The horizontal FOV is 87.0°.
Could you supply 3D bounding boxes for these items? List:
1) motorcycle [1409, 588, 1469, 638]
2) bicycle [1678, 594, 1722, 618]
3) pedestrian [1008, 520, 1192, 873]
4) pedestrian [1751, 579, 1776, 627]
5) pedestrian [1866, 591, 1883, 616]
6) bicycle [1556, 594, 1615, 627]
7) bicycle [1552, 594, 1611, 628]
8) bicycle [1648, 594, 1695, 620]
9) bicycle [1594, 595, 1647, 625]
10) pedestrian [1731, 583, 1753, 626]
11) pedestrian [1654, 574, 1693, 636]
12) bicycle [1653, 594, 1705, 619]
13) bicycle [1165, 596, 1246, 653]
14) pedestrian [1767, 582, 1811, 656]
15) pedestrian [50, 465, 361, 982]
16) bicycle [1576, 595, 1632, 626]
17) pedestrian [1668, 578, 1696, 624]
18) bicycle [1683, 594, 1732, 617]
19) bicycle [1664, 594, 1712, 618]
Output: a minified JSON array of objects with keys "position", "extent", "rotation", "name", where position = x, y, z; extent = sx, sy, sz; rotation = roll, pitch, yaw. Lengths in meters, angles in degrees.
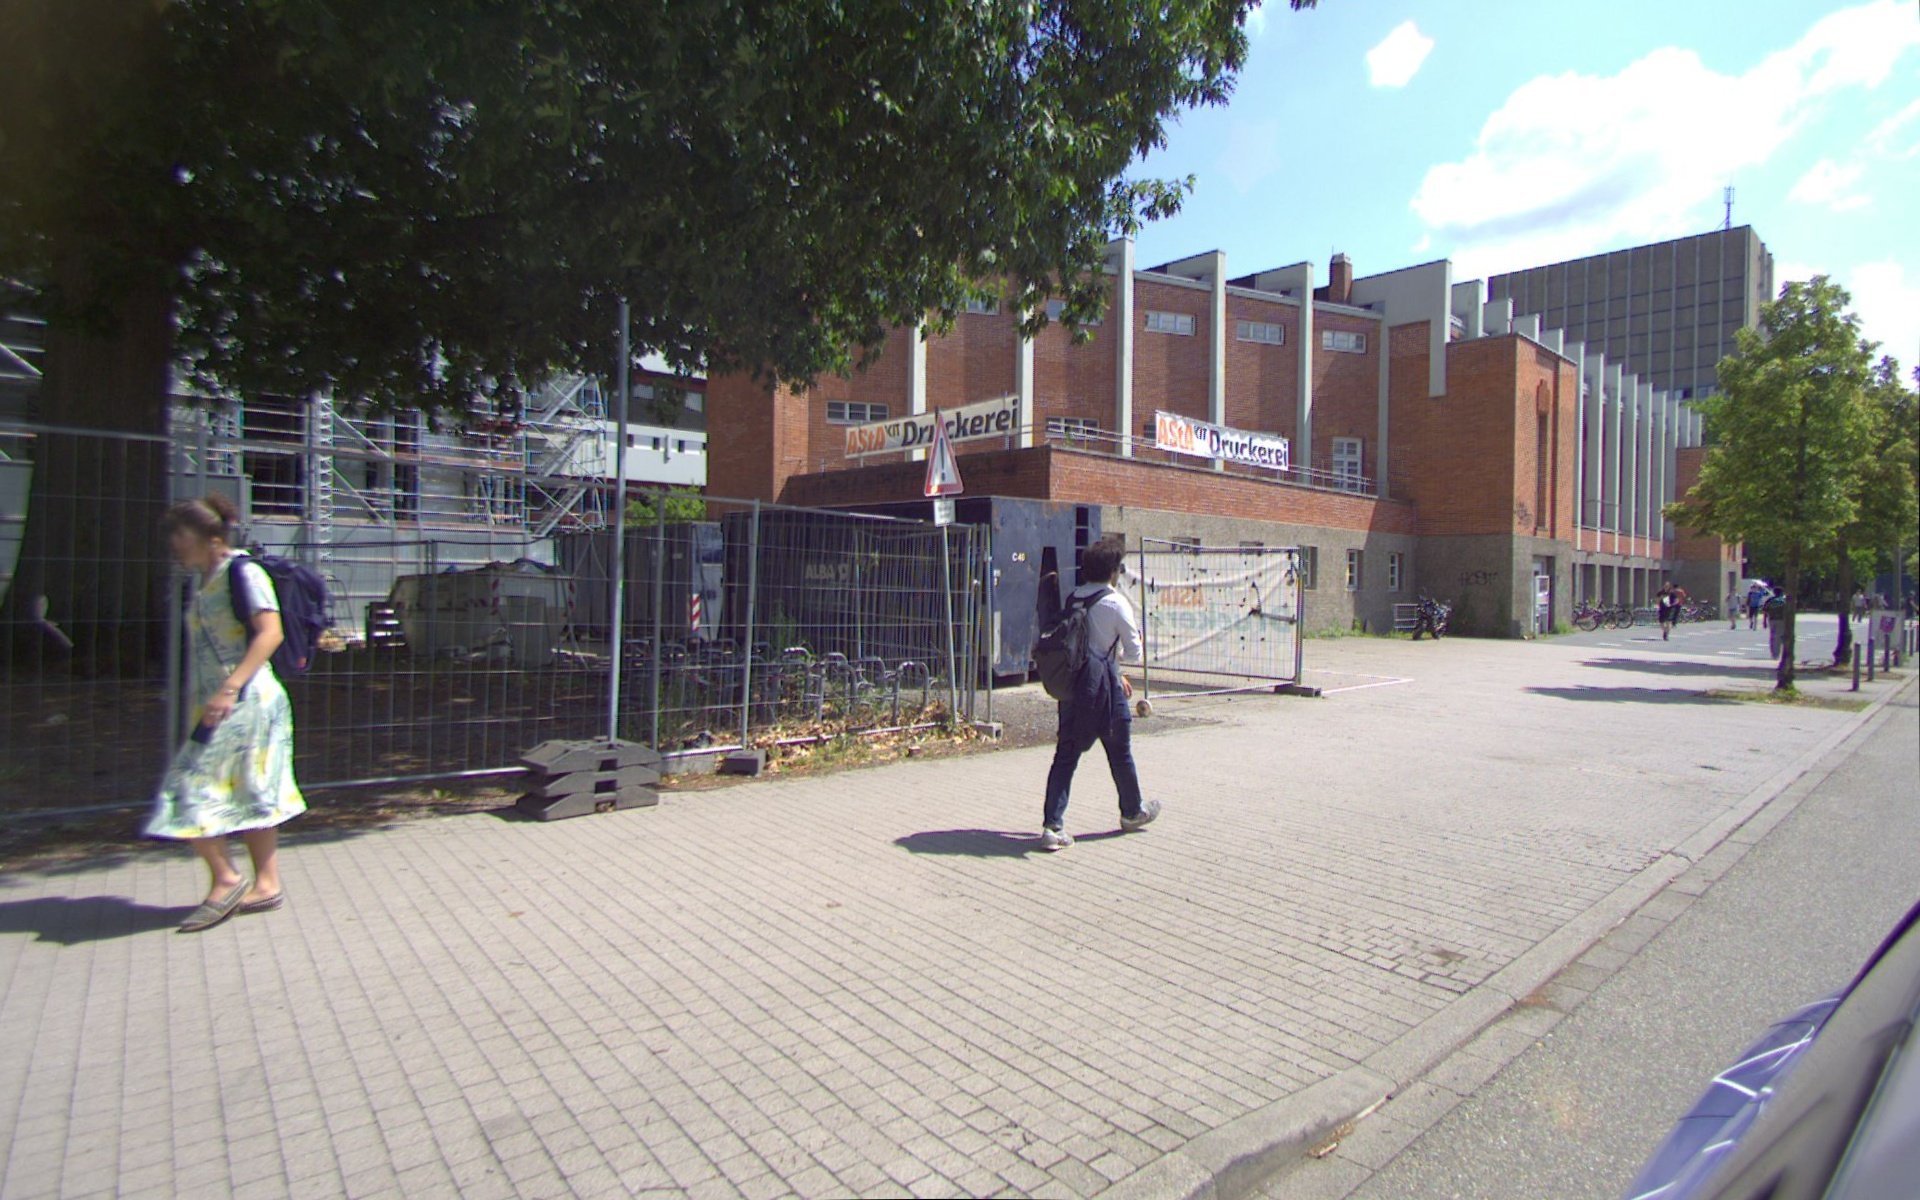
[{"position":[13.243,0.335,27.963],"extent":[2.181,1.340,0.697],"rotation":[0,1,-41],"name":"motorcycle"},{"position":[36.485,0.295,49.888],"extent":[0.428,1.124,1.695],"rotation":[0,1,-44],"name":"bicycle"},{"position":[0.790,0.478,5.683],"extent":[0.694,1.803,0.775],"rotation":[2,1,41],"name":"pedestrian"},{"position":[32.847,0.117,41.371],"extent":[0.664,1.913,1.092],"rotation":[2,2,44],"name":"pedestrian"},{"position":[62.922,0.250,69.631],"extent":[0.781,1.696,1.065],"rotation":[2,2,38],"name":"pedestrian"},{"position":[22.920,0.362,37.100],"extent":[0.509,1.164,1.754],"rotation":[0,1,-44],"name":"bicycle"},{"position":[22.332,0.381,36.393],"extent":[0.428,1.164,1.754],"rotation":[0,1,-44],"name":"bicycle"},{"position":[32.327,0.323,45.968],"extent":[0.428,1.124,1.684],"rotation":[0,1,-44],"name":"bicycle"},{"position":[25.825,0.374,39.587],"extent":[0.428,1.124,1.684],"rotation":[0,1,-44],"name":"bicycle"},{"position":[32.365,0.166,41.900],"extent":[0.585,1.728,0.986],"rotation":[2,2,43],"name":"pedestrian"},{"position":[22.172,0.142,31.432],"extent":[0.843,1.857,1.179],"rotation":[1,1,41],"name":"pedestrian"},{"position":[33.479,0.305,47.149],"extent":[0.428,1.124,1.912],"rotation":[0,1,-44],"name":"bicycle"},{"position":[5.185,0.492,21.452],"extent":[0.440,1.123,1.704],"rotation":[0,1,-42],"name":"bicycle"},{"position":[19.708,0.443,24.062],"extent":[0.778,1.718,0.643],"rotation":[0,1,-39],"name":"pedestrian"},{"position":[-2.857,0.392,3.843],"extent":[0.889,1.687,0.650],"rotation":[0,1,-43],"name":"pedestrian"},{"position":[24.656,0.379,38.758],"extent":[0.428,1.124,1.748],"rotation":[0,1,-44],"name":"bicycle"},{"position":[29.474,0.036,41.306],"extent":[0.889,1.857,0.665],"rotation":[0,0,-37],"name":"pedestrian"},{"position":[37.763,0.275,51.123],"extent":[0.449,1.124,1.931],"rotation":[0,1,-44],"name":"bicycle"},{"position":[34.783,0.284,48.364],"extent":[0.428,1.124,1.798],"rotation":[0,1,-44],"name":"bicycle"}]
